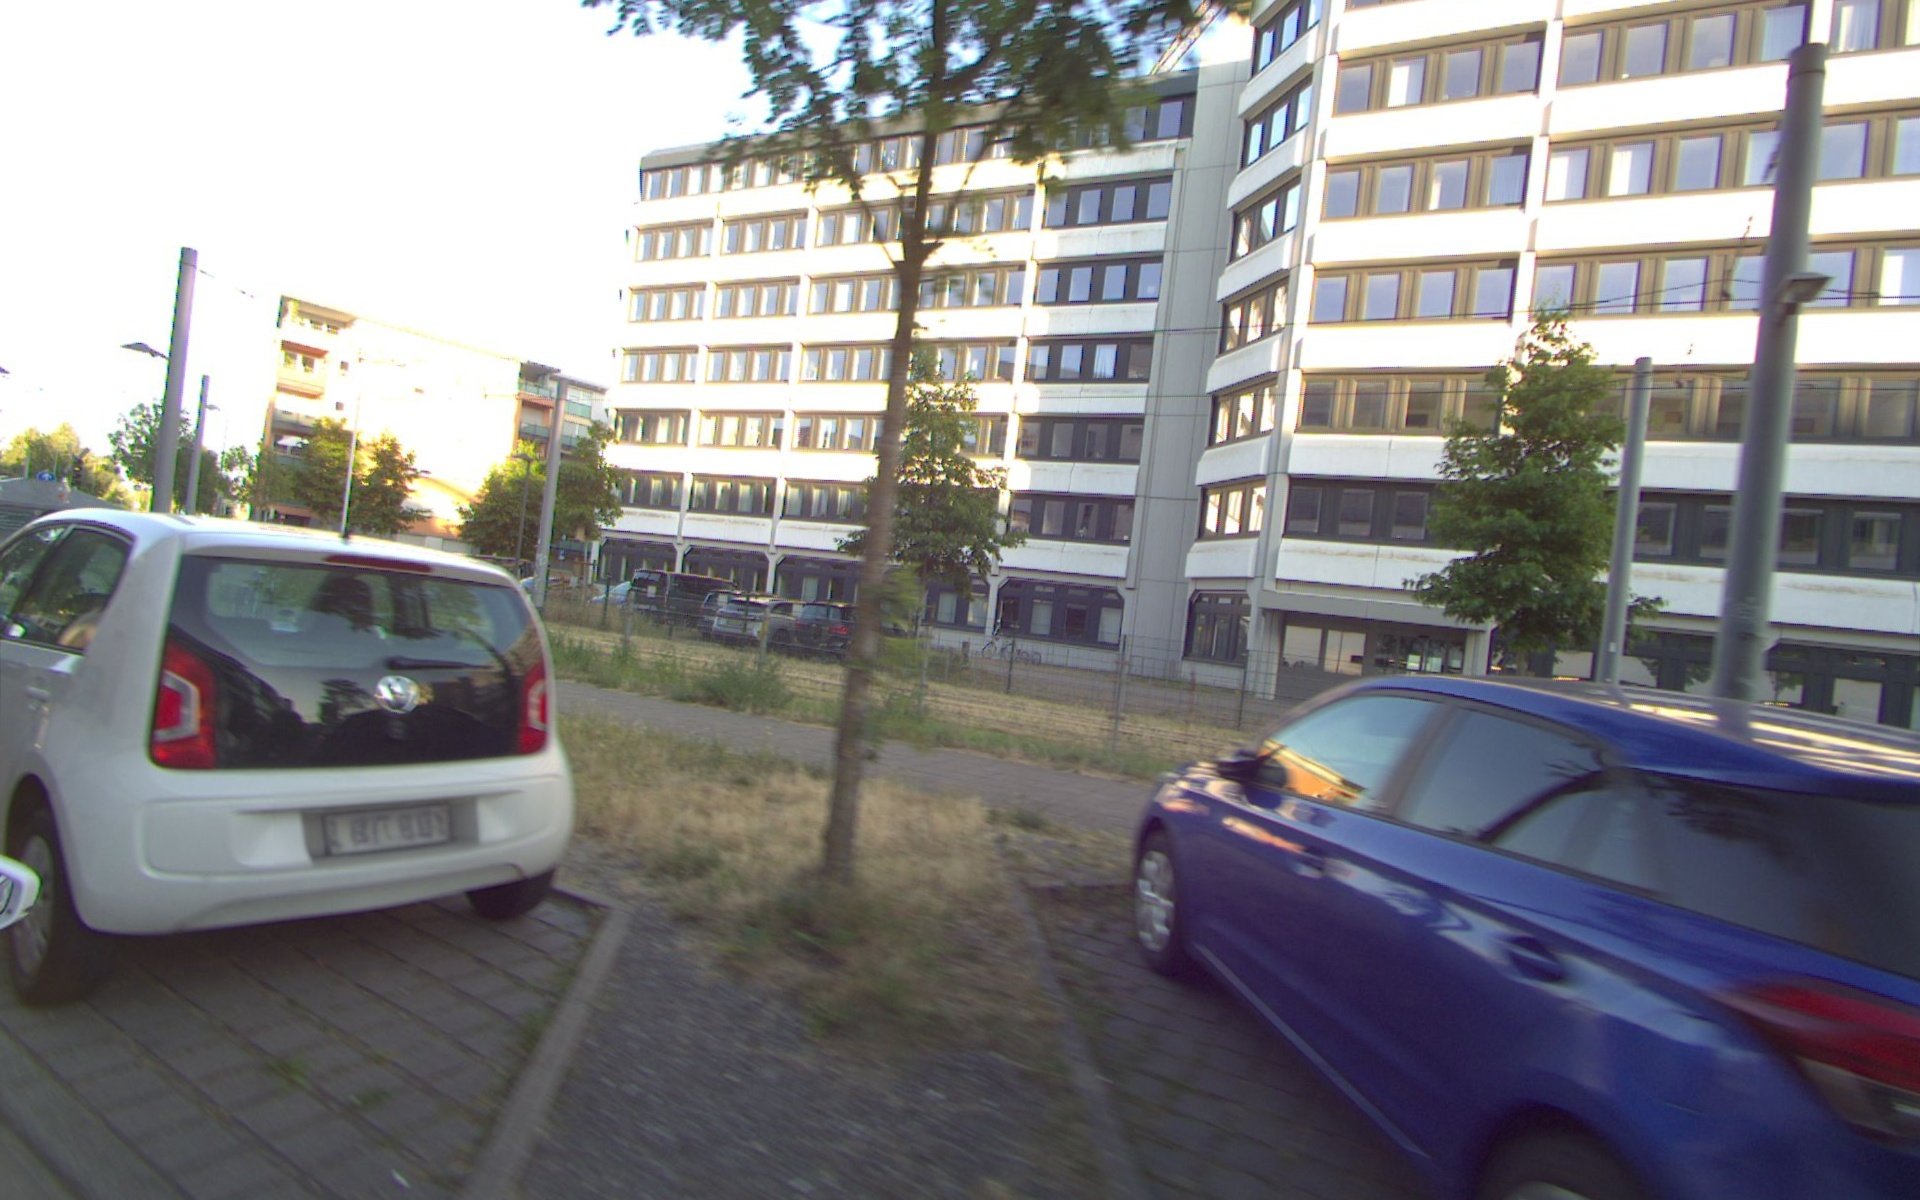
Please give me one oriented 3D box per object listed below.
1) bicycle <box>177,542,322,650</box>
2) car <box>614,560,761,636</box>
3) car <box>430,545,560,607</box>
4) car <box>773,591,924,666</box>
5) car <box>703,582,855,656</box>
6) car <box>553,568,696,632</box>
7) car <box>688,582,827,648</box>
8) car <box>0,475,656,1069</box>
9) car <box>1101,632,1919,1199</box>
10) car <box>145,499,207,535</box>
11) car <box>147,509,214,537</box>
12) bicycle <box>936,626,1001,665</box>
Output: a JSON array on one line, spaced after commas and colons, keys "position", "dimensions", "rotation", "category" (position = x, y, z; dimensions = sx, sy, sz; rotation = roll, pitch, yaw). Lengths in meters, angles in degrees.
[{"position": [-8.605, -0.055, 12.171], "dimensions": [1.661, 1.095, 0.764], "rotation": [6, 0, 32], "category": "bicycle"}, {"position": [-8.869, -0.023, 33.122], "dimensions": [1.898, 1.960, 4.505], "rotation": [7, -1, 29], "category": "car"}, {"position": [-19.103, -0.929, 41.521], "dimensions": [1.898, 1.960, 4.507], "rotation": [7, -1, 27], "category": "car"}, {"position": [-2.889, 0.827, 27.076], "dimensions": [1.664, 1.621, 4.506], "rotation": [7, -1, 28], "category": "car"}, {"position": [-4.972, 0.591, 28.261], "dimensions": [1.664, 1.621, 4.506], "rotation": [7, -1, 28], "category": "car"}, {"position": [-11.099, 0.049, 33.643], "dimensions": [1.665, 1.621, 4.506], "rotation": [7, -1, 28], "category": "car"}, {"position": [-6.282, 0.531, 31.768], "dimensions": [1.665, 1.621, 4.506], "rotation": [7, -1, 28], "category": "car"}, {"position": [-3.162, 0.350, 4.262], "dimensions": [3.498, 1.485, 1.722], "rotation": [7, 0, 36], "category": "car"}, {"position": [1.824, 0.989, 3.221], "dimensions": [1.659, 1.526, 3.753], "rotation": [8, -2, -6], "category": "car"}, {"position": [-70.640, -7.456, 90.675], "dimensions": [4.137, 2.615, 1.684], "rotation": [8, -1, -40], "category": "car"}, {"position": [-63.651, -6.290, 82.230], "dimensions": [4.132, 1.595, 1.686], "rotation": [8, -1, -37], "category": "car"}, {"position": [0.335, 1.836, 40.511], "dimensions": [2.390, 1.213, 0.831], "rotation": [7, -3, 28], "category": "bicycle"}]
